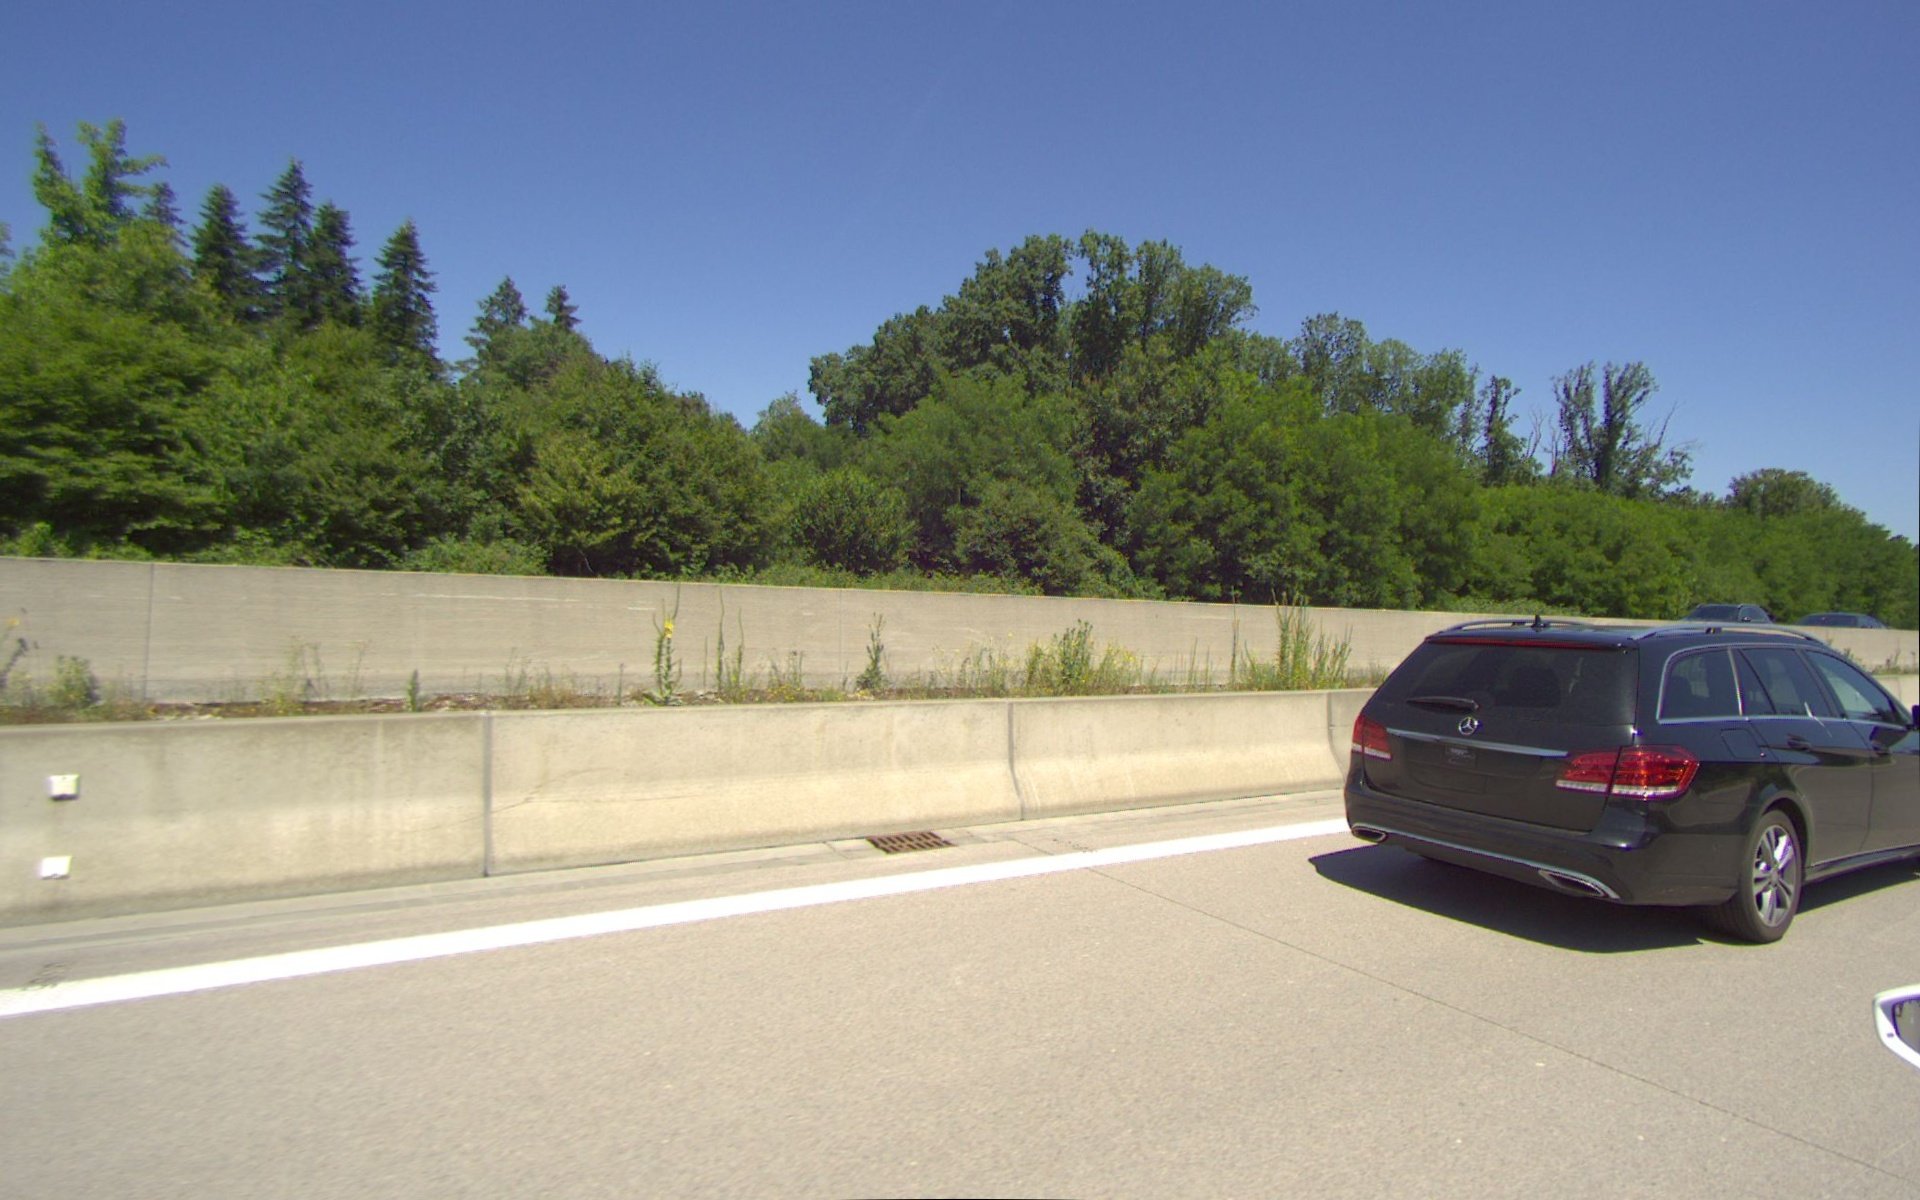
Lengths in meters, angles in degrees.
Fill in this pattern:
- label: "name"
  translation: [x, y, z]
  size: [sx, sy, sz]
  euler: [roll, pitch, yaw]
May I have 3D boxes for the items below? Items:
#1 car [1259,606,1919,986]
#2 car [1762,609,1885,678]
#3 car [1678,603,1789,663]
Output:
- label: "car"
  translation: [4.534, 0.840, 6.219]
  size: [5.538, 1.493, 1.881]
  euler: [1, 0, -31]
- label: "car"
  translation: [26.298, 1.304, 30.583]
  size: [3.961, 1.948, 1.650]
  euler: [2, 0, -31]
- label: "car"
  translation: [27.049, 1.151, 35.091]
  size: [4.091, 1.948, 1.650]
  euler: [2, 0, -31]
